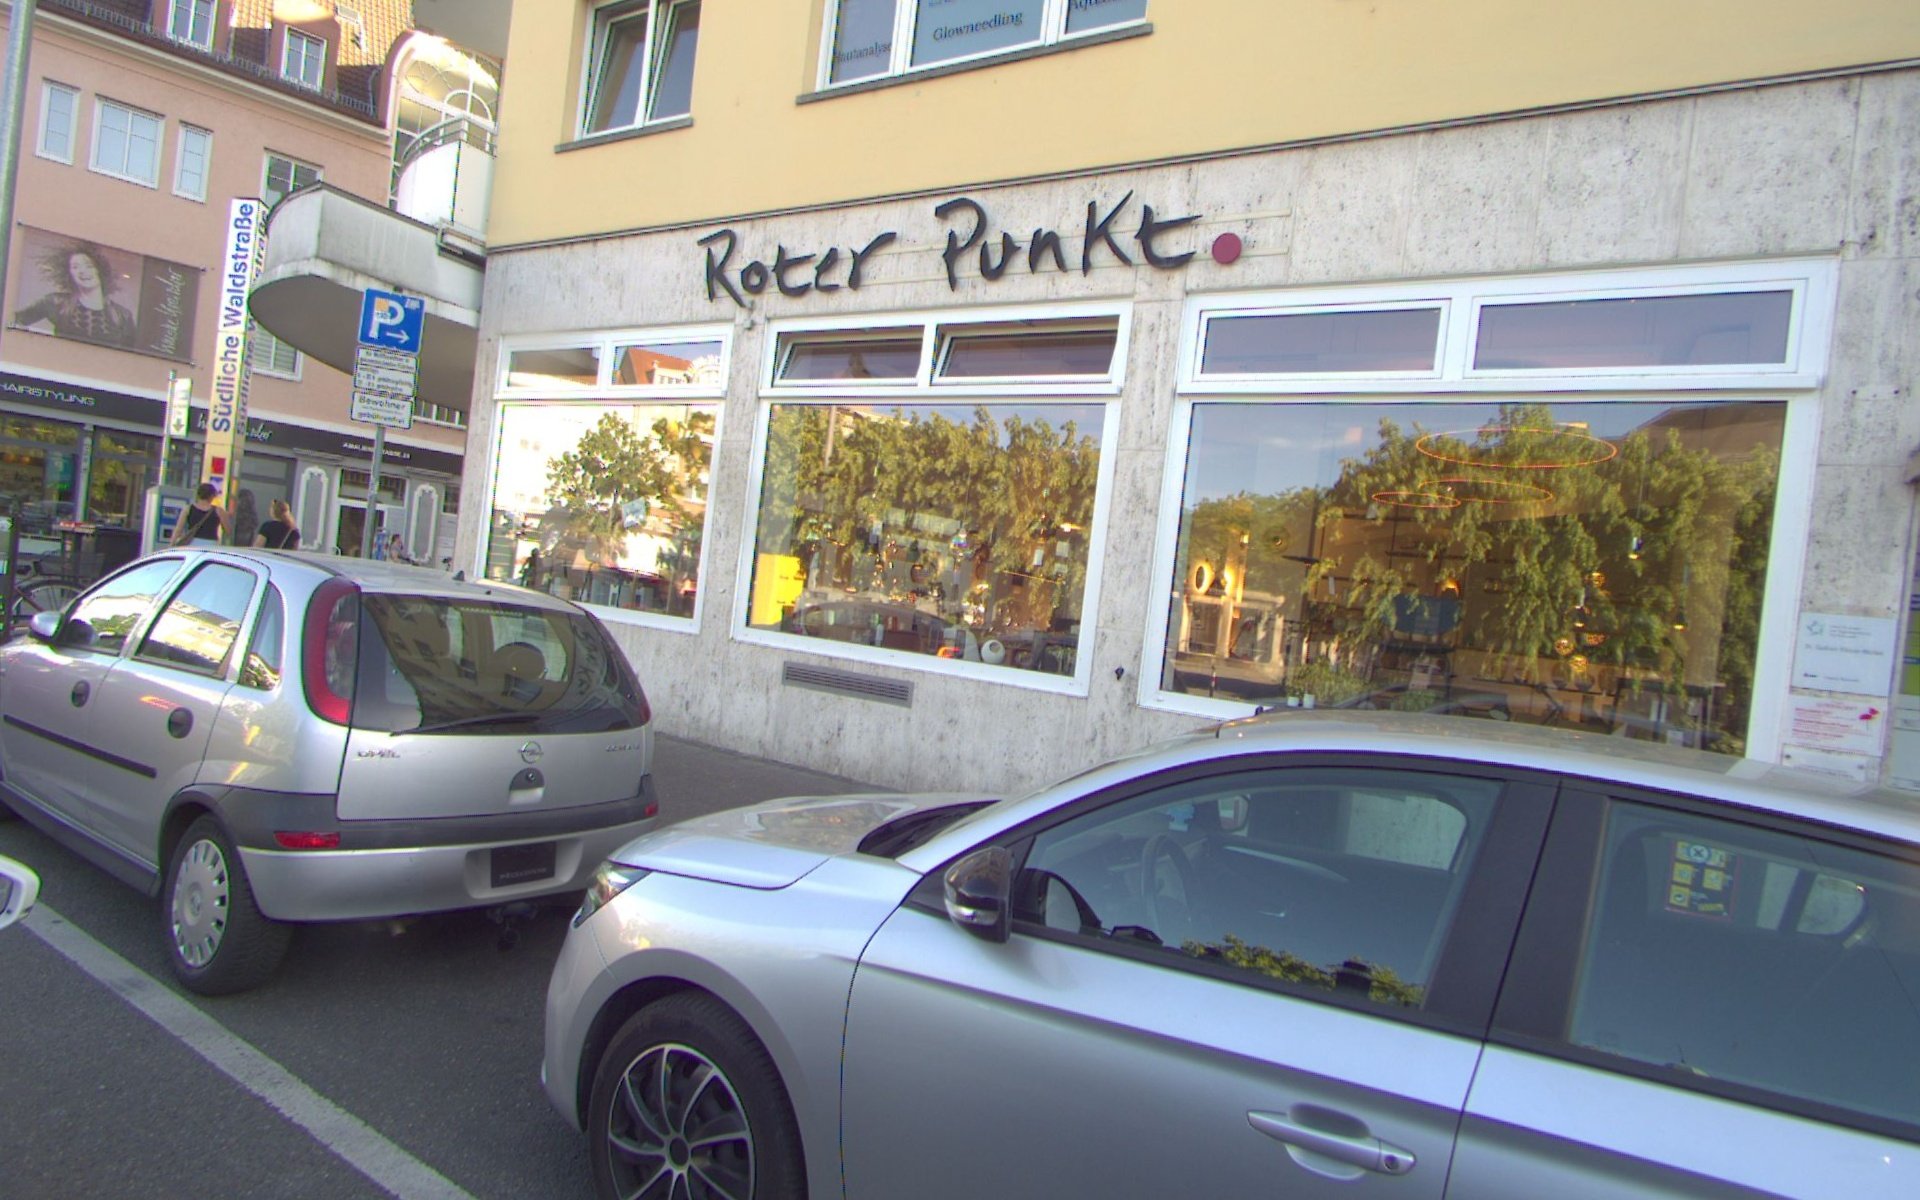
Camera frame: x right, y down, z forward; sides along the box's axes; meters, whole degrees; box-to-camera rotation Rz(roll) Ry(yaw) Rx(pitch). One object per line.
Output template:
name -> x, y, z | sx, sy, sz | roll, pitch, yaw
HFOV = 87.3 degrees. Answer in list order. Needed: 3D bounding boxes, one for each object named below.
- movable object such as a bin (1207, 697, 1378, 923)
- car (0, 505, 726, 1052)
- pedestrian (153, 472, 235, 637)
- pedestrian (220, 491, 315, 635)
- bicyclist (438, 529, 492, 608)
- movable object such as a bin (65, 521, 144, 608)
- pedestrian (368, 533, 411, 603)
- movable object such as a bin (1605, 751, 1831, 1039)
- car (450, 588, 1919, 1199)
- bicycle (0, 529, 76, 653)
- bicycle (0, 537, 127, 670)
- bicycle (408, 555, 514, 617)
movable object such as a bin -> 1.823, 1.095, 5.477 | 0.639, 1.035, 0.738 | 6, -1, 31
car -> -2.958, 0.482, 4.461 | 3.520, 1.443, 1.587 | 6, -2, 32
pedestrian -> -9.198, -0.539, 12.077 | 0.677, 1.875, 0.883 | 2, 3, -41
pedestrian -> -8.971, -0.472, 13.039 | 0.775, 1.777, 0.720 | 6, 2, 37
bicyclist -> -10.880, -0.681, 22.114 | 0.822, 1.635, 0.572 | 4, 2, -43
movable object such as a bin -> -11.958, -0.490, 14.065 | 0.716, 1.117, 0.636 | 7, 2, 35
pedestrian -> -13.638, -0.767, 24.071 | 0.716, 1.567, 0.786 | 8, -1, -30
movable object such as a bin -> 3.372, 1.263, 4.547 | 0.639, 1.035, 0.738 | 6, -1, 31
car -> 0.778, 0.941, 2.281 | 3.624, 1.453, 1.587 | 6, -2, 30
bicycle -> -9.057, -0.153, 8.798 | 0.642, 1.072, 1.816 | 7, -1, 33
bicycle -> -8.166, 0.001, 8.253 | 0.642, 1.057, 1.884 | 7, 0, 33
bicycle -> -10.937, -0.297, 22.100 | 1.945, 1.173, 0.569 | 5, 1, -42
